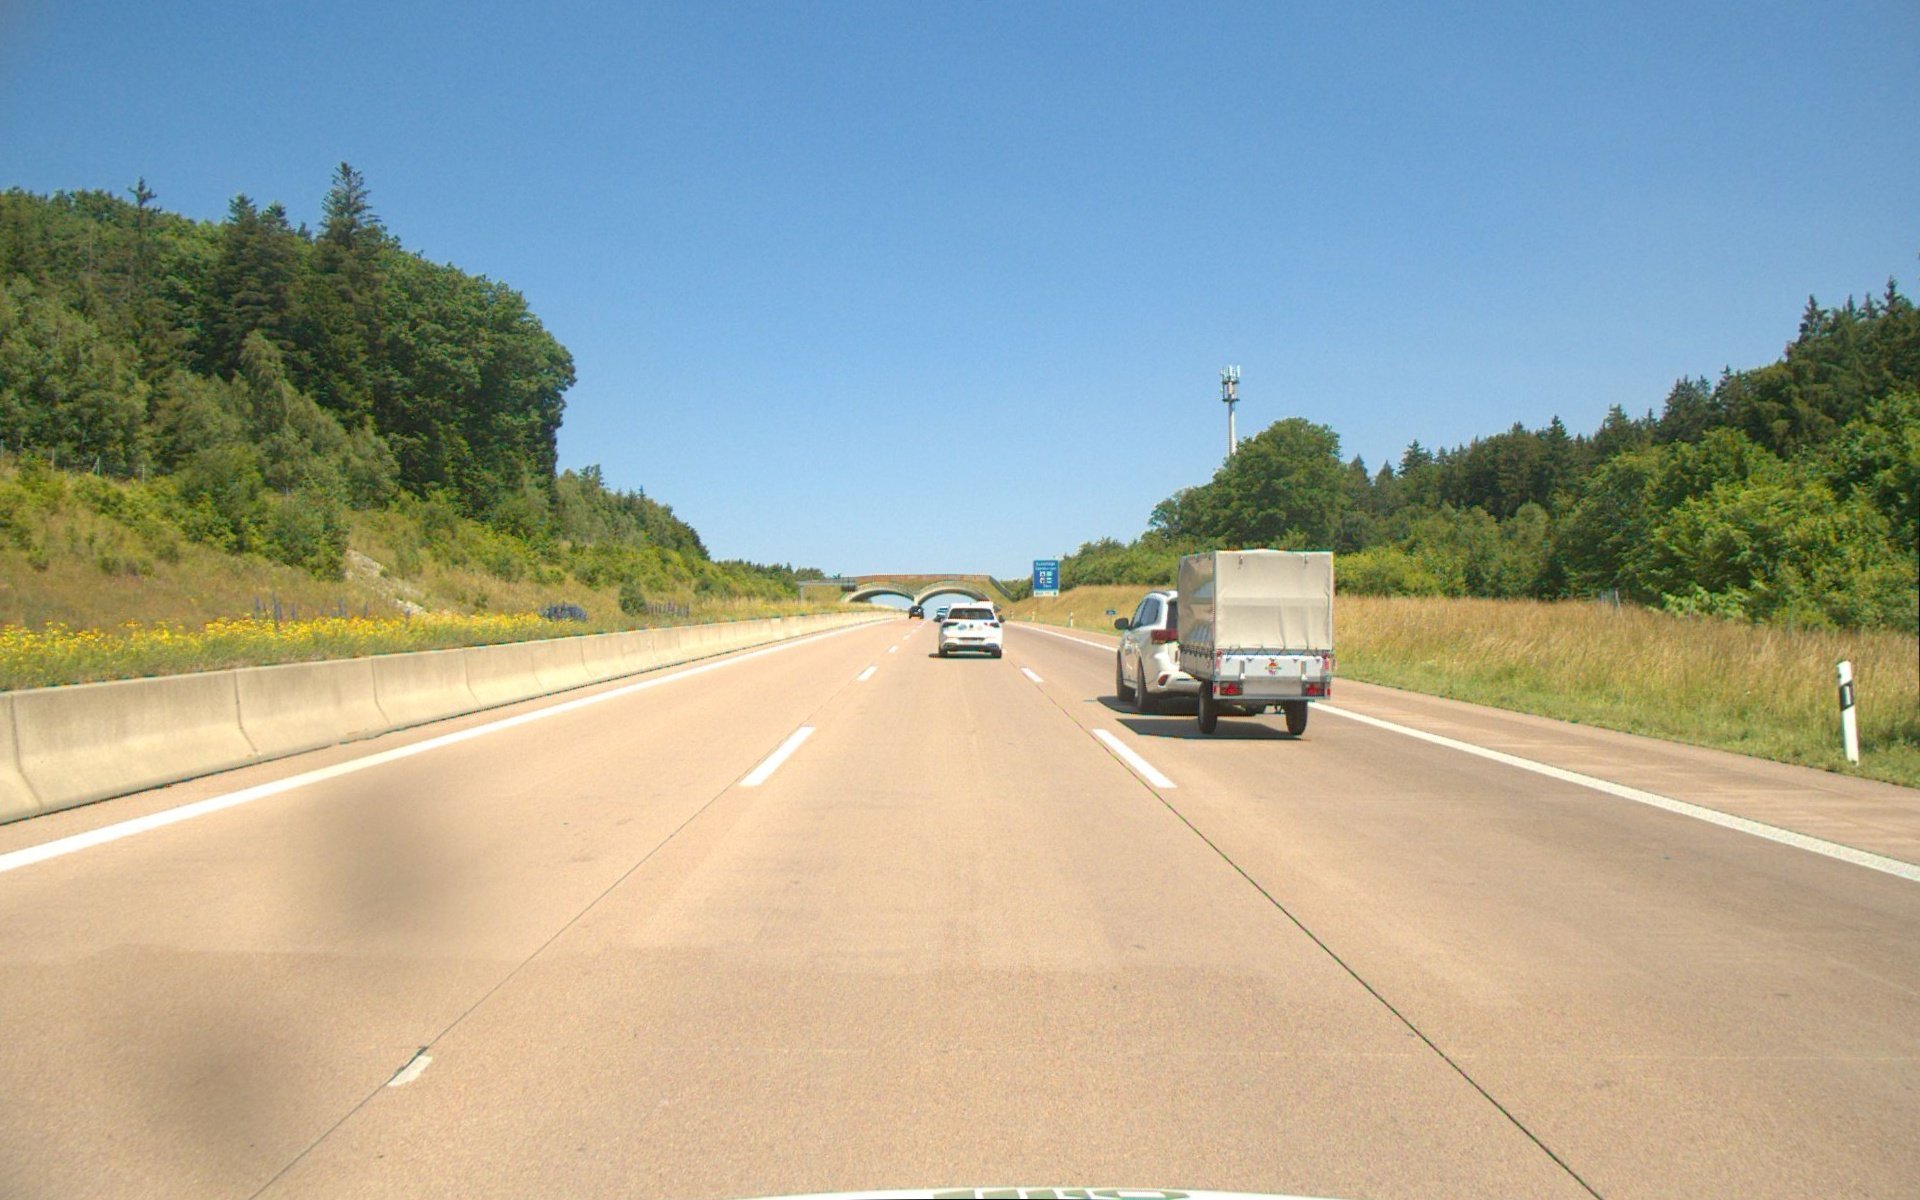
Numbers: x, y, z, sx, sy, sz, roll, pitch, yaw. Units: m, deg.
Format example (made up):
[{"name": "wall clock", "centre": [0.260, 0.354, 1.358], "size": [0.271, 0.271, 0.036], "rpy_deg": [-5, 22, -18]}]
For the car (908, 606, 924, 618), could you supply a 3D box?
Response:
[{"name": "car", "centre": [-5.683, 1.526, 214.986], "size": [1.851, 1.489, 4.001], "rpy_deg": [0, 0, 1]}]

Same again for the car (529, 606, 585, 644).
[{"name": "car", "centre": [-19.644, 1.207, 80.765], "size": [1.853, 1.769, 4.461], "rpy_deg": [0, 0, -3]}]

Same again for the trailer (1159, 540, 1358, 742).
[{"name": "trailer", "centre": [3.504, 0.457, 20.091], "size": [1.624, 2.202, 4.015], "rpy_deg": [0, 0, -1]}]

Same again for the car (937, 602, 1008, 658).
[{"name": "car", "centre": [0.308, 0.795, 45.672], "size": [1.852, 1.422, 3.999], "rpy_deg": [1, 0, -1]}]

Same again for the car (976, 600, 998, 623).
[{"name": "car", "centre": [2.564, 1.108, 157.360], "size": [2.067, 2.090, 4.001], "rpy_deg": [0, 0, 1]}]

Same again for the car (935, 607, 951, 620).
[{"name": "car", "centre": [-1.990, 1.628, 196.585], "size": [1.852, 1.489, 4.000], "rpy_deg": [1, 0, 0]}]

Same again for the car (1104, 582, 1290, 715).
[{"name": "car", "centre": [3.378, 0.646, 24.590], "size": [1.853, 1.758, 5.184], "rpy_deg": [0, 0, -2]}]
